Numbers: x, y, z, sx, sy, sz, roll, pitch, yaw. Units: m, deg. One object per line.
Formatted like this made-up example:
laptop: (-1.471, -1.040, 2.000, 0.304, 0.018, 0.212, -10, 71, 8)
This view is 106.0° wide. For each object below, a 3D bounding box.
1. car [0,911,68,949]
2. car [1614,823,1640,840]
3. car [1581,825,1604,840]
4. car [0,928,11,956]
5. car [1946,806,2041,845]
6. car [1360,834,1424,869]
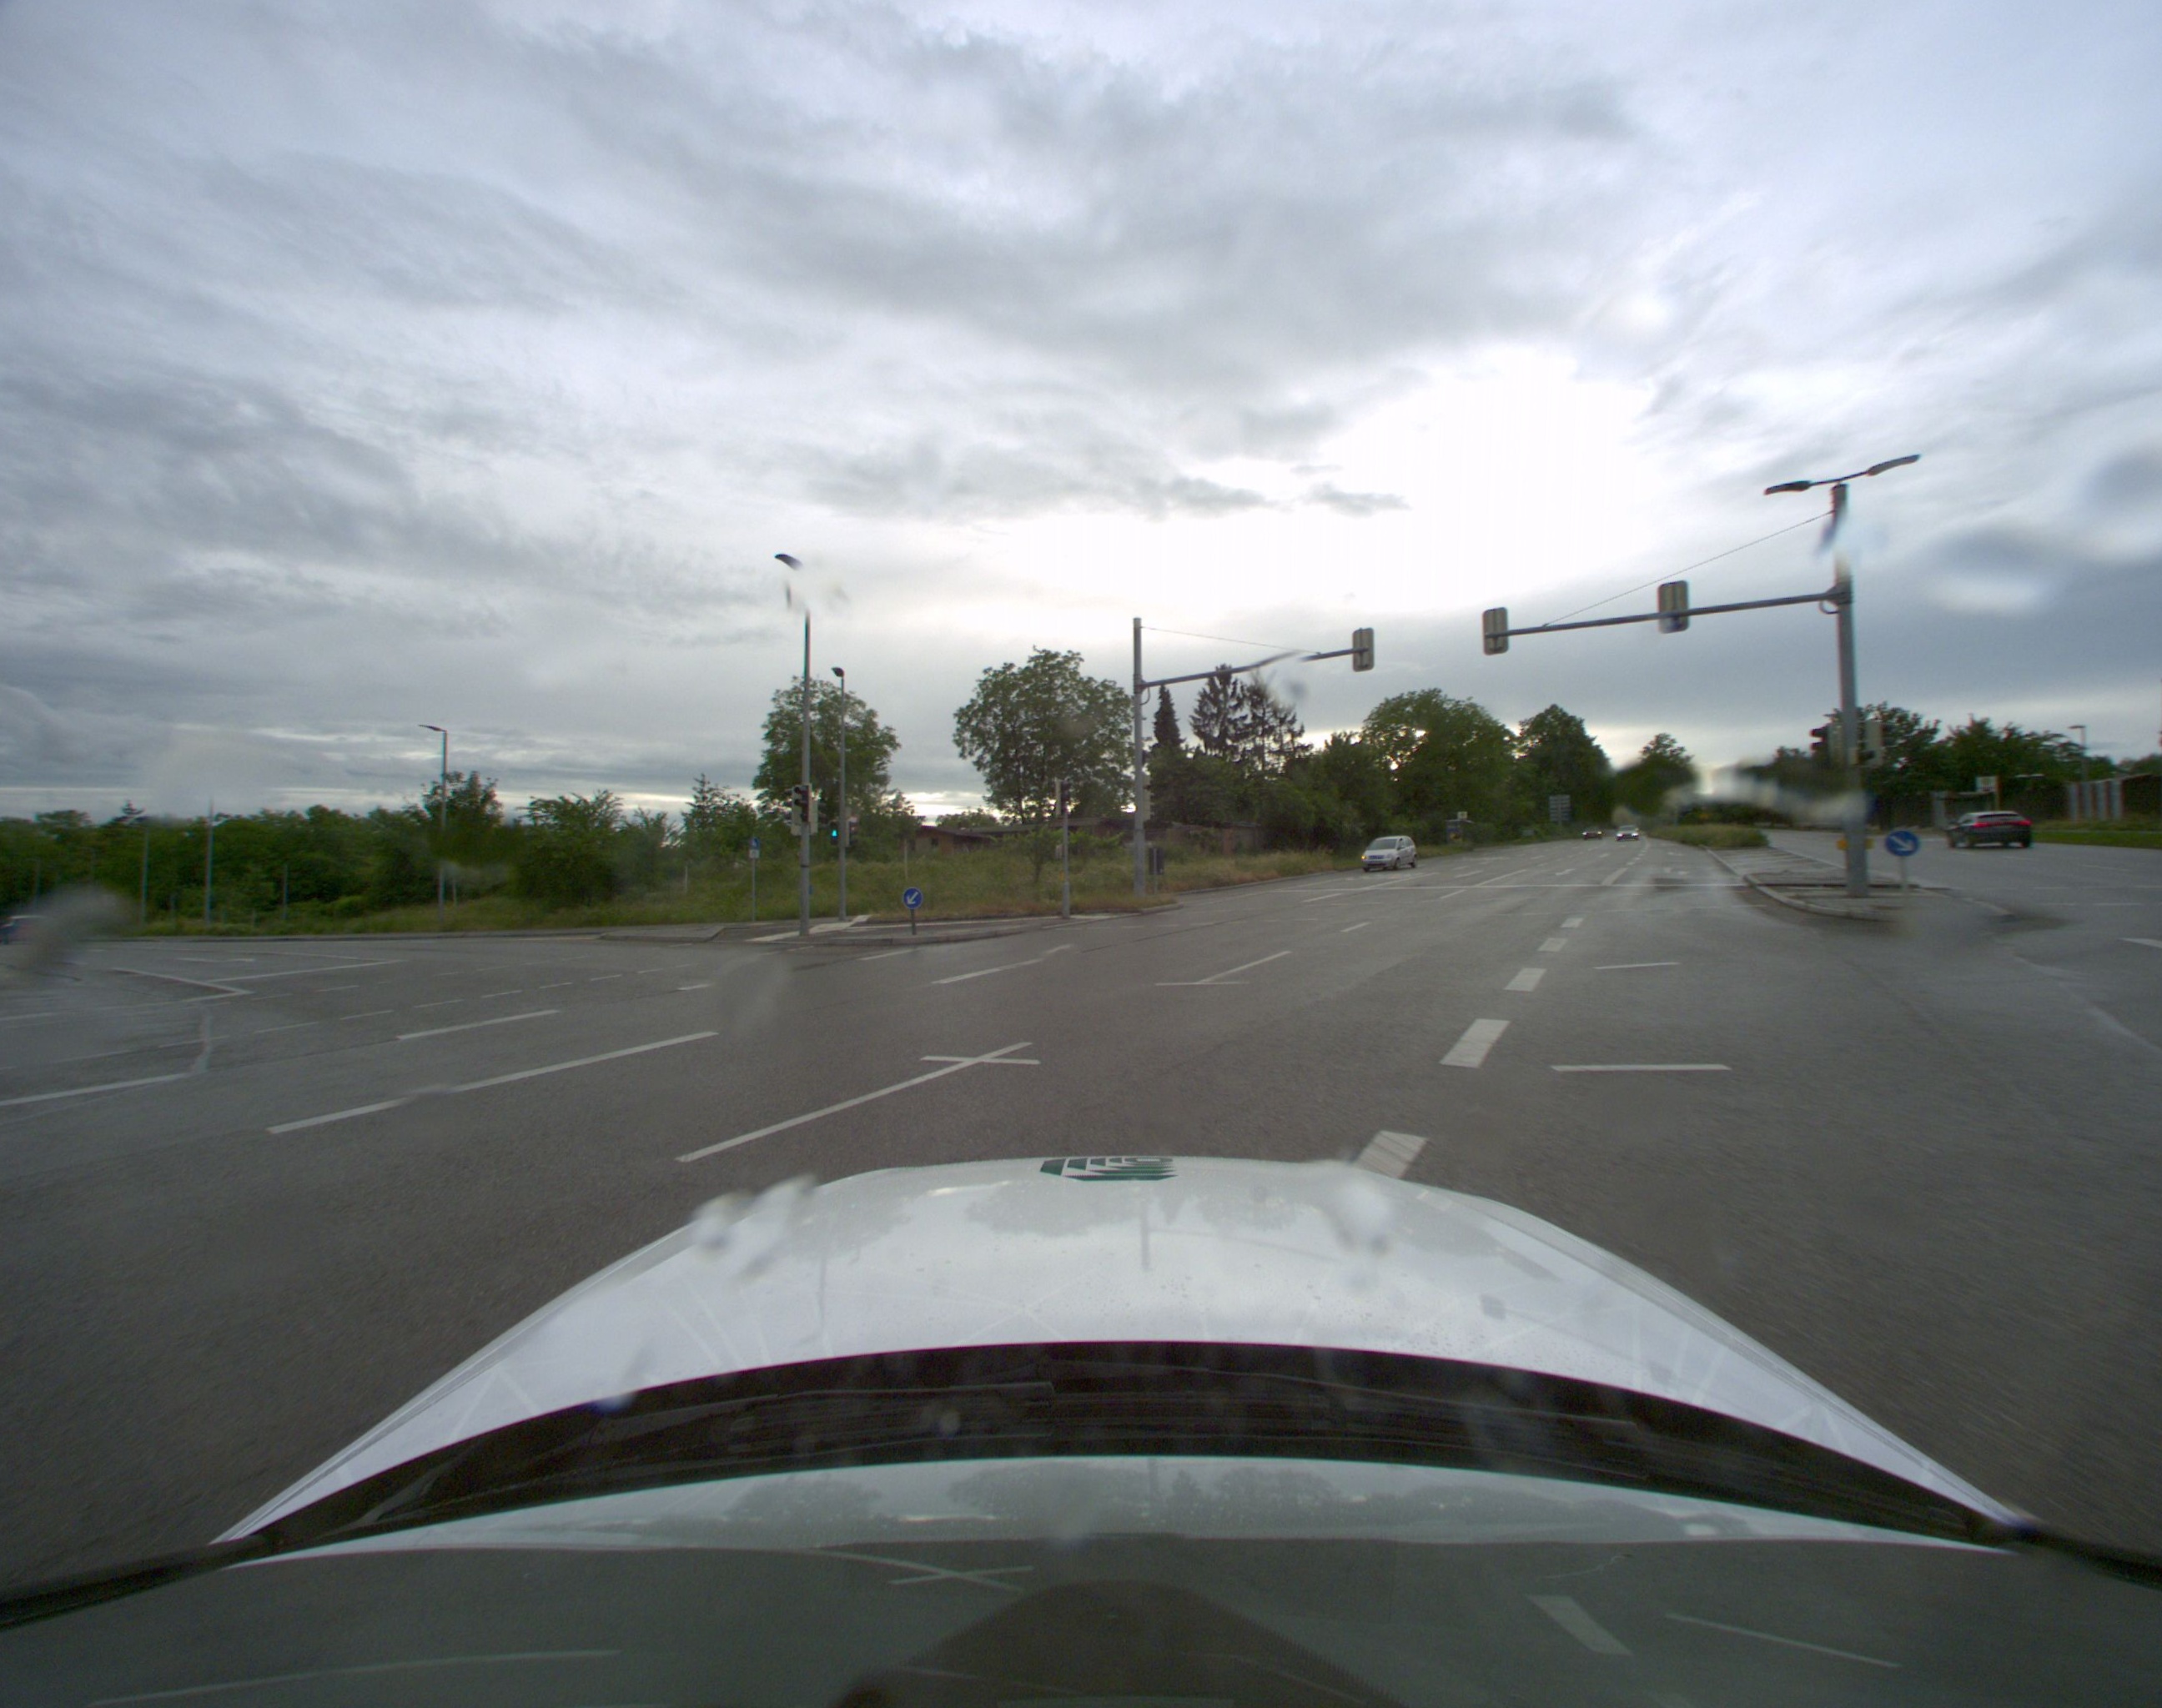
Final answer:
car: (-58.685, 4.208, 45.615, 4.144, 1.718, 2.096, 0, 0, 34)
car: (54.002, -2.242, 80.486, 1.875, 1.534, 4.518, -2, 1, 36)
car: (59.194, -2.525, 94.160, 1.875, 1.596, 4.518, -2, 1, 36)
car: (-74.514, 6.012, 55.043, 4.604, 1.582, 2.187, 0, 0, 32)
car: (37.452, -1.164, 33.531, 1.728, 1.470, 4.193, -2, 1, 36)
car: (15.437, -0.160, 40.264, 1.751, 1.596, 4.518, -2, 1, 36)
